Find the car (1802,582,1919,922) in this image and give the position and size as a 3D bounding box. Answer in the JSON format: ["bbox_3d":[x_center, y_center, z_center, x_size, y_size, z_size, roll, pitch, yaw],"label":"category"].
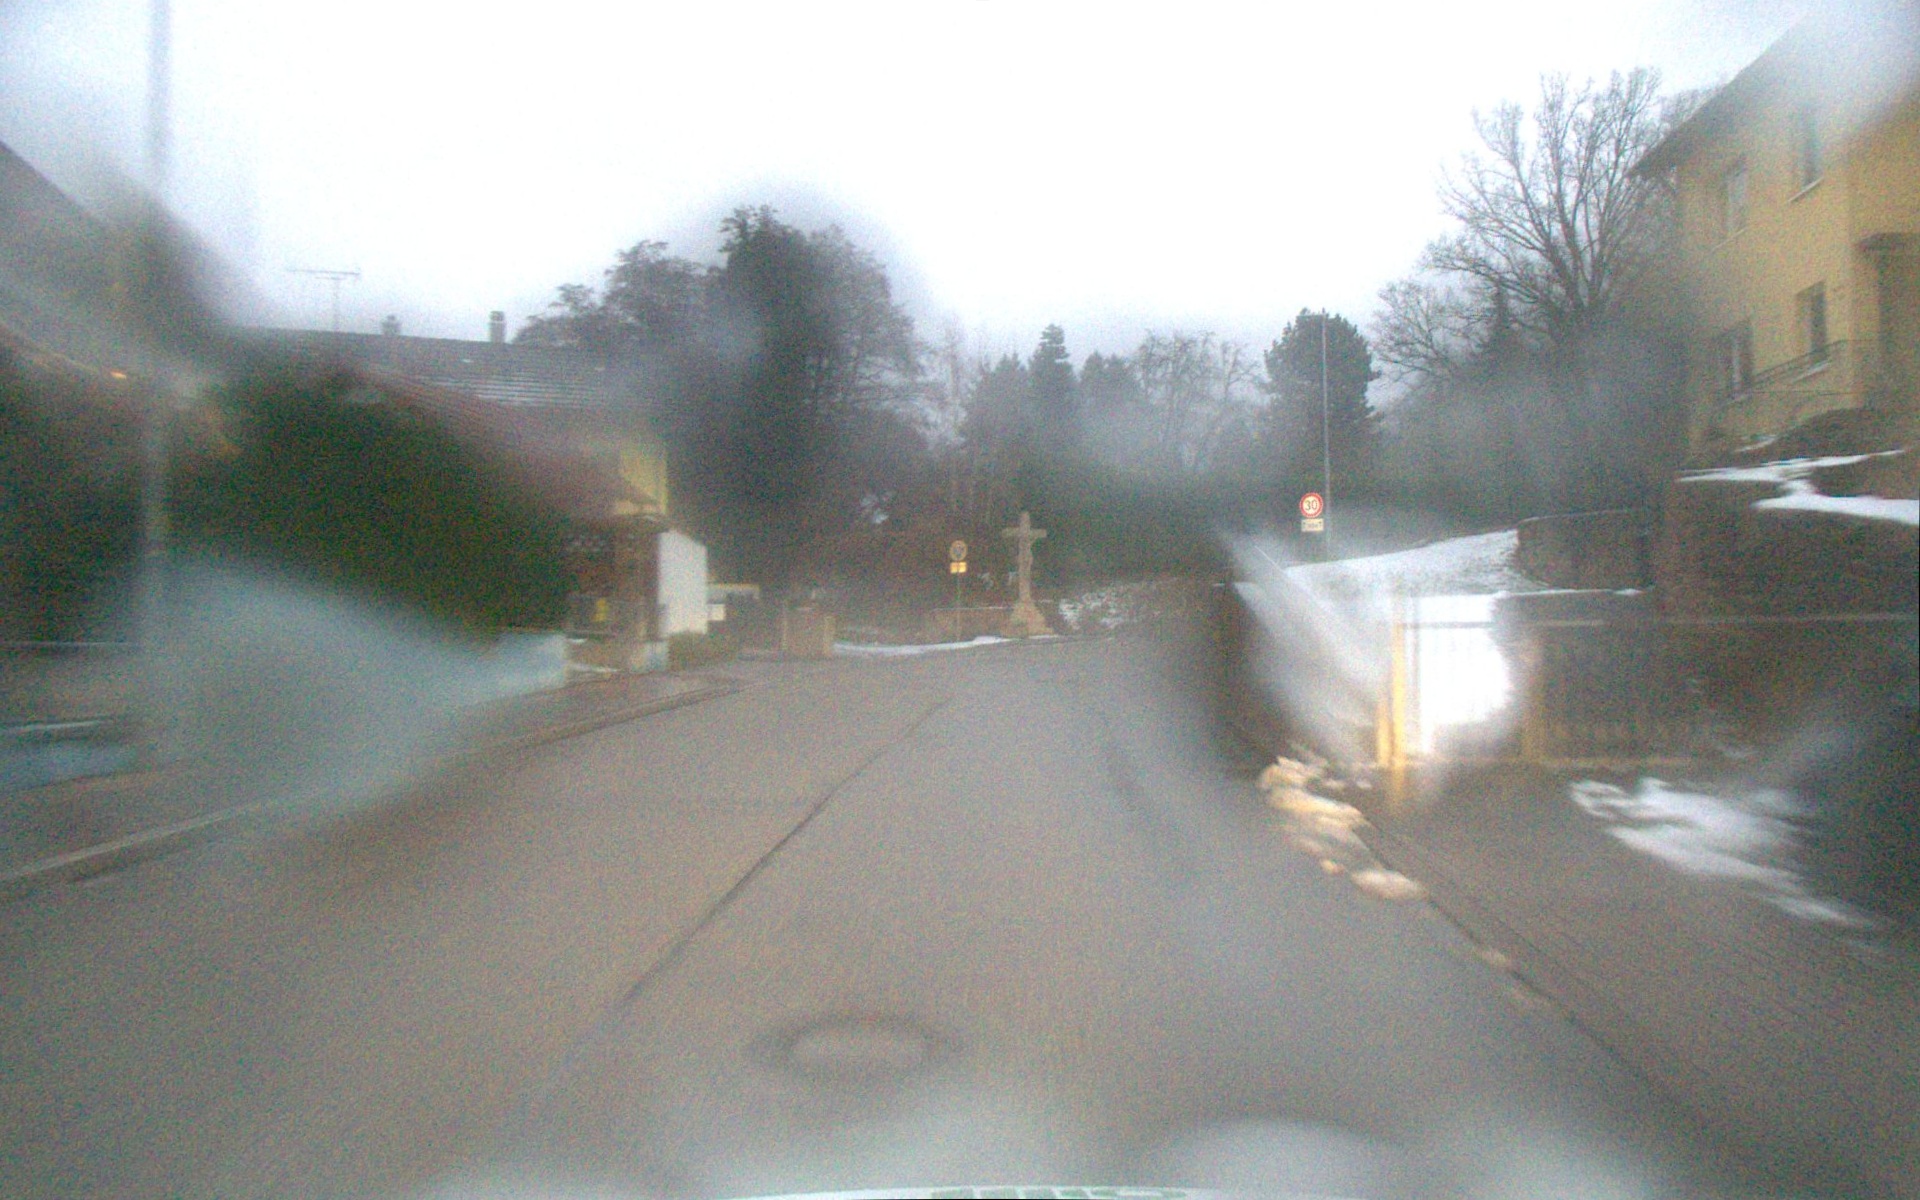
[{"bbox_3d":[6.379,0.600,7.174,4.413,1.469,2.000,-2,0,-1],"label":"car"}]
